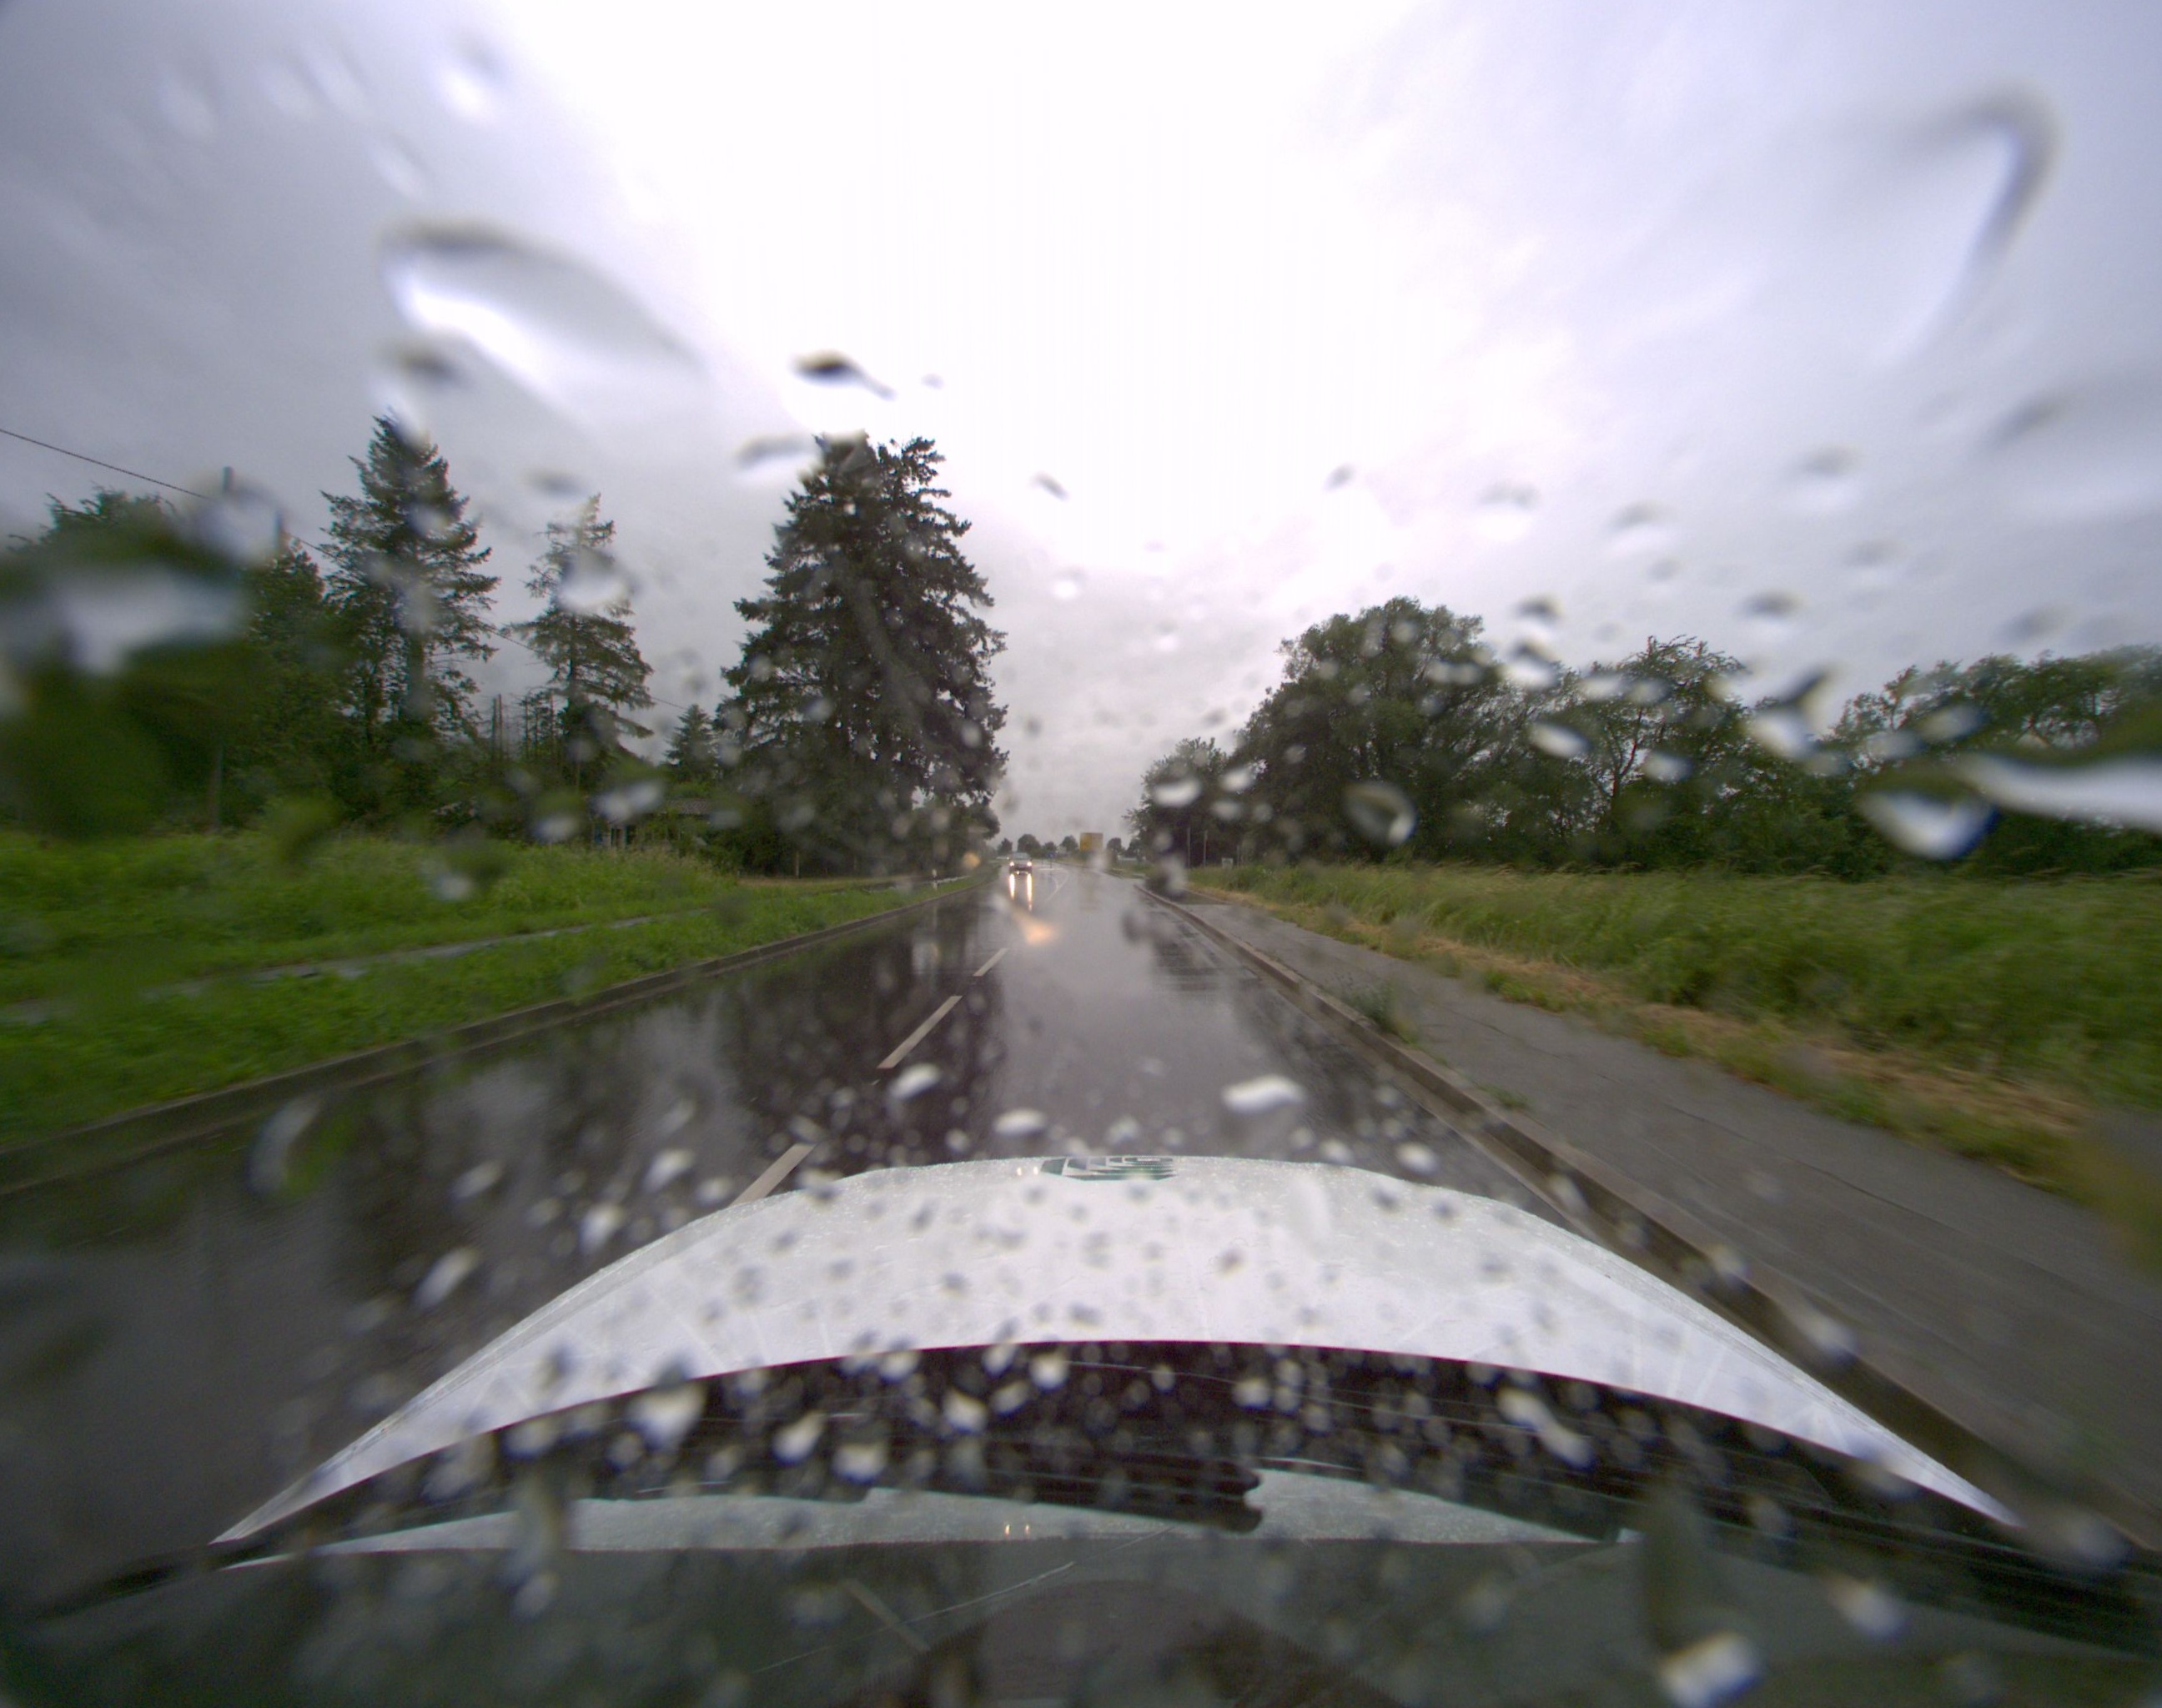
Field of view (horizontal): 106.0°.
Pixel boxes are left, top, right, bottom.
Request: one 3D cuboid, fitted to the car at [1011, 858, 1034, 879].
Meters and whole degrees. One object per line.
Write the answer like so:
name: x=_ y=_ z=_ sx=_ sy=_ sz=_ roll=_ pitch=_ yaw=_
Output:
car: x=-4.797 y=1.199 z=66.300 sx=1.758 sy=1.553 sz=3.991 roll=2 pitch=-3 yaw=-5
